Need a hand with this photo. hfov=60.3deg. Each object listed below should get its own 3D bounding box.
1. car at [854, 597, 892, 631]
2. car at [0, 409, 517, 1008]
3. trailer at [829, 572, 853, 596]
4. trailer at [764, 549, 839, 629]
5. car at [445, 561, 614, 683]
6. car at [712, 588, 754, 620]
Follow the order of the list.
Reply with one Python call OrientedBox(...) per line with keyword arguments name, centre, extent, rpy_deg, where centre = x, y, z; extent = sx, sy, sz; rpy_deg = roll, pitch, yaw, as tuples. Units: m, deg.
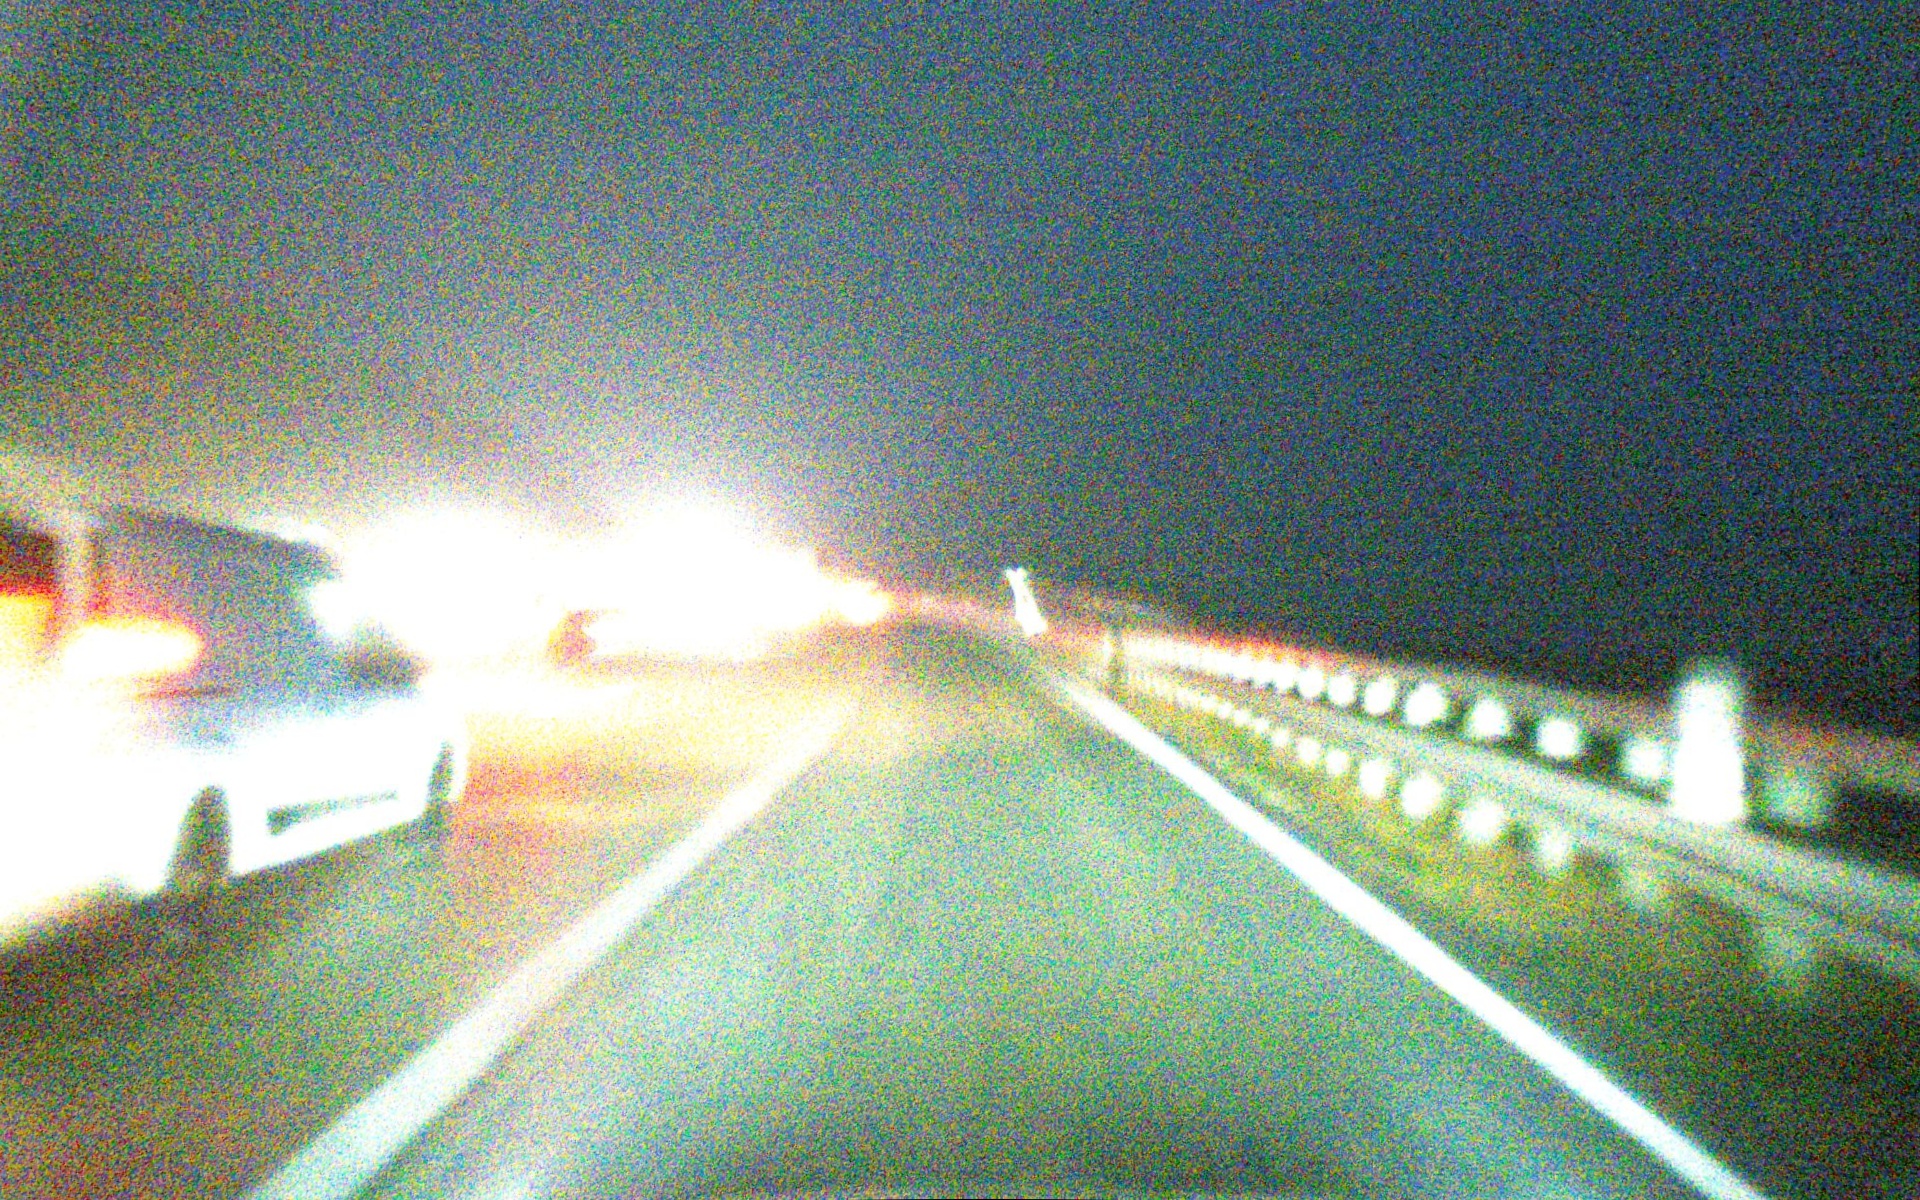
OrientedBox(name="car", centre=(-5.272, 0.842, 100.679), extent=(1.953, 1.850, 4.000), rpy_deg=(4, 0, 1))
OrientedBox(name="car", centre=(-3.875, 0.381, 8.175), extent=(1.952, 2.049, 5.017), rpy_deg=(0, 0, 1))
OrientedBox(name="trailer", centre=(-15.221, -2.043, 210.925), extent=(2.635, 2.746, 12.844), rpy_deg=(4, 0, -5))
OrientedBox(name="trailer", centre=(-8.388, -0.493, 89.096), extent=(2.539, 3.789, 13.651), rpy_deg=(4, 0, 0))
OrientedBox(name="car", centre=(-8.211, 0.397, 31.989), extent=(1.953, 2.048, 4.567), rpy_deg=(4, 0, 0))
OrientedBox(name="car", centre=(-13.209, 0.238, 96.296), extent=(1.954, 1.646, 3.998), rpy_deg=(4, 0, -3))
